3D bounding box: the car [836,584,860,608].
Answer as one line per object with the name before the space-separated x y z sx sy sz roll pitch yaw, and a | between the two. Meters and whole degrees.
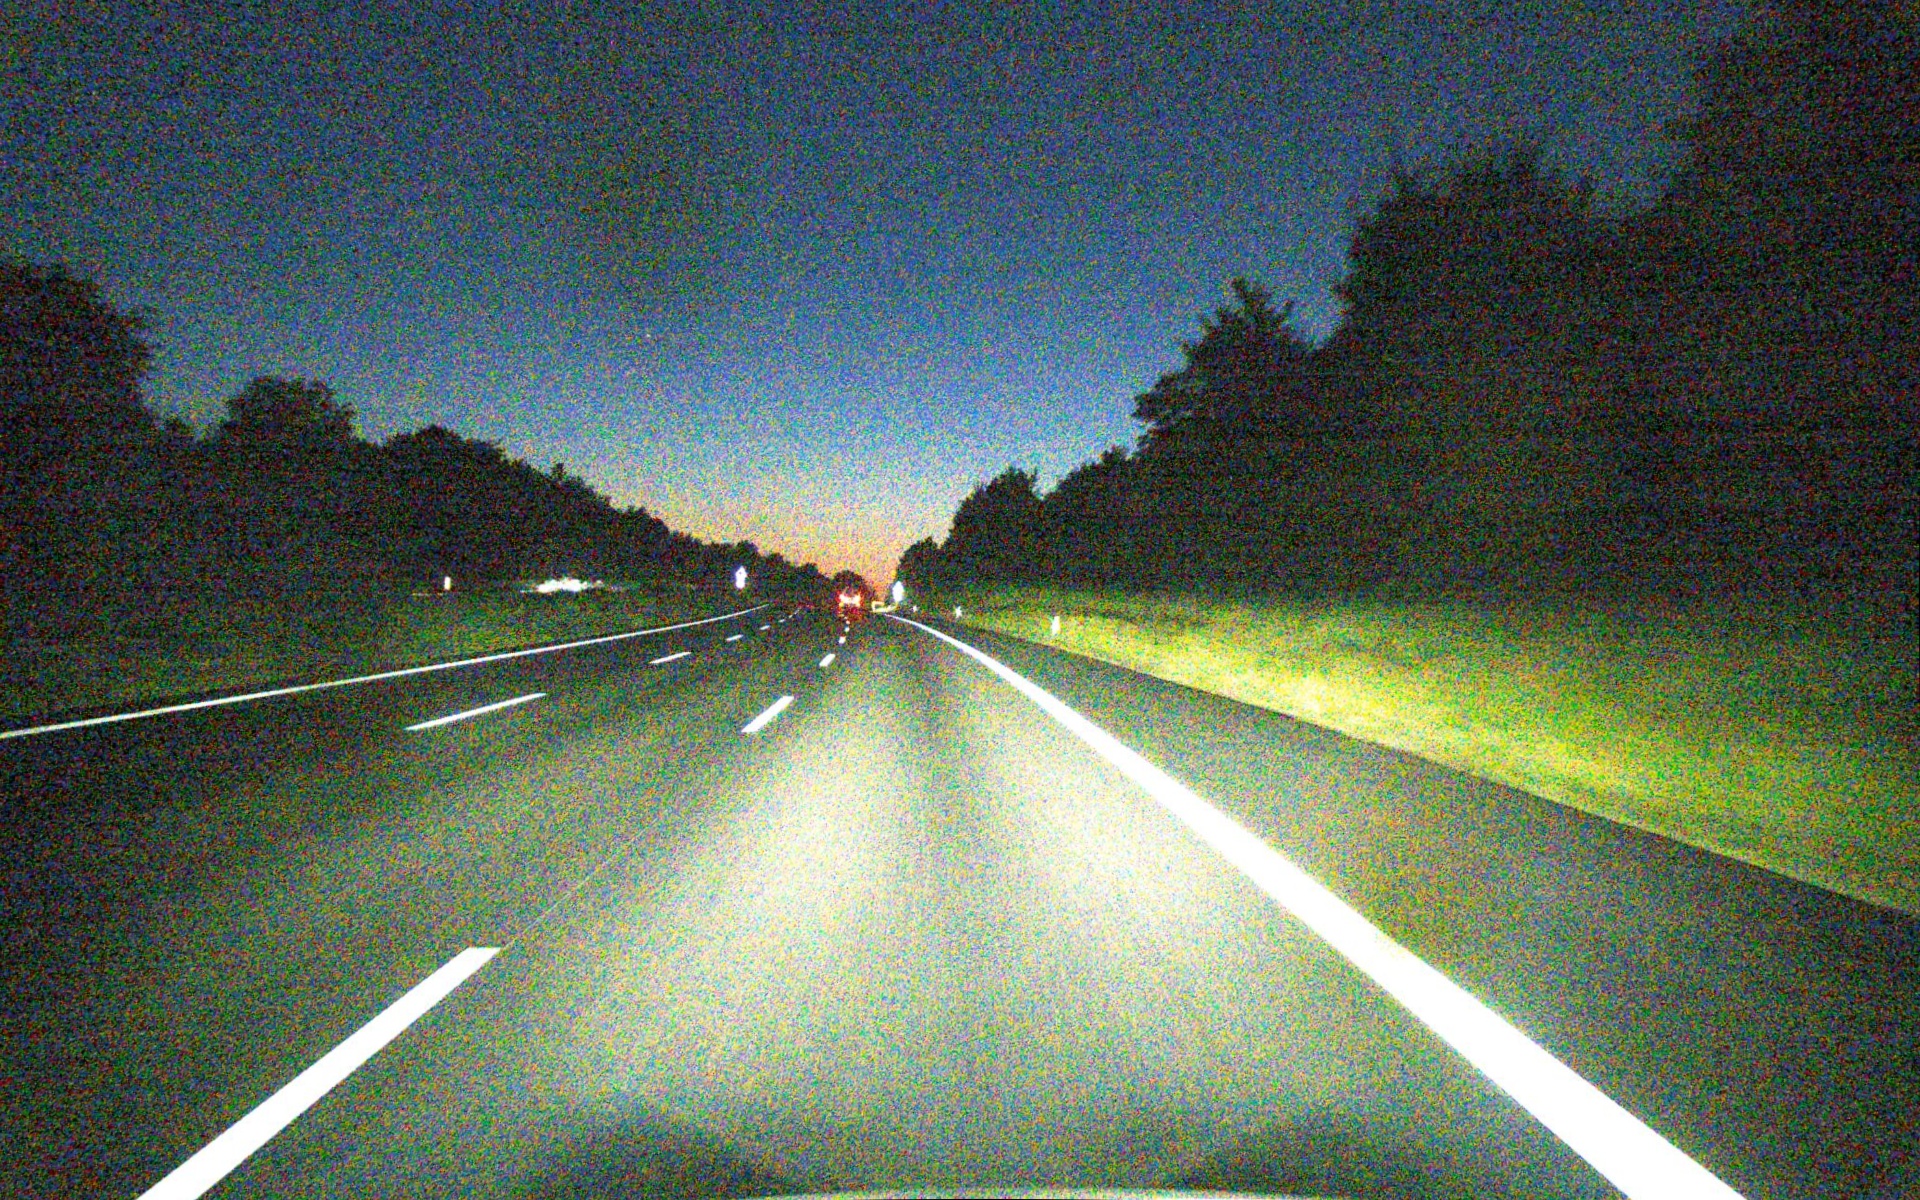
car | -12.760 -0.478 189.019 2.477 2.598 6.047 3 0 -3
